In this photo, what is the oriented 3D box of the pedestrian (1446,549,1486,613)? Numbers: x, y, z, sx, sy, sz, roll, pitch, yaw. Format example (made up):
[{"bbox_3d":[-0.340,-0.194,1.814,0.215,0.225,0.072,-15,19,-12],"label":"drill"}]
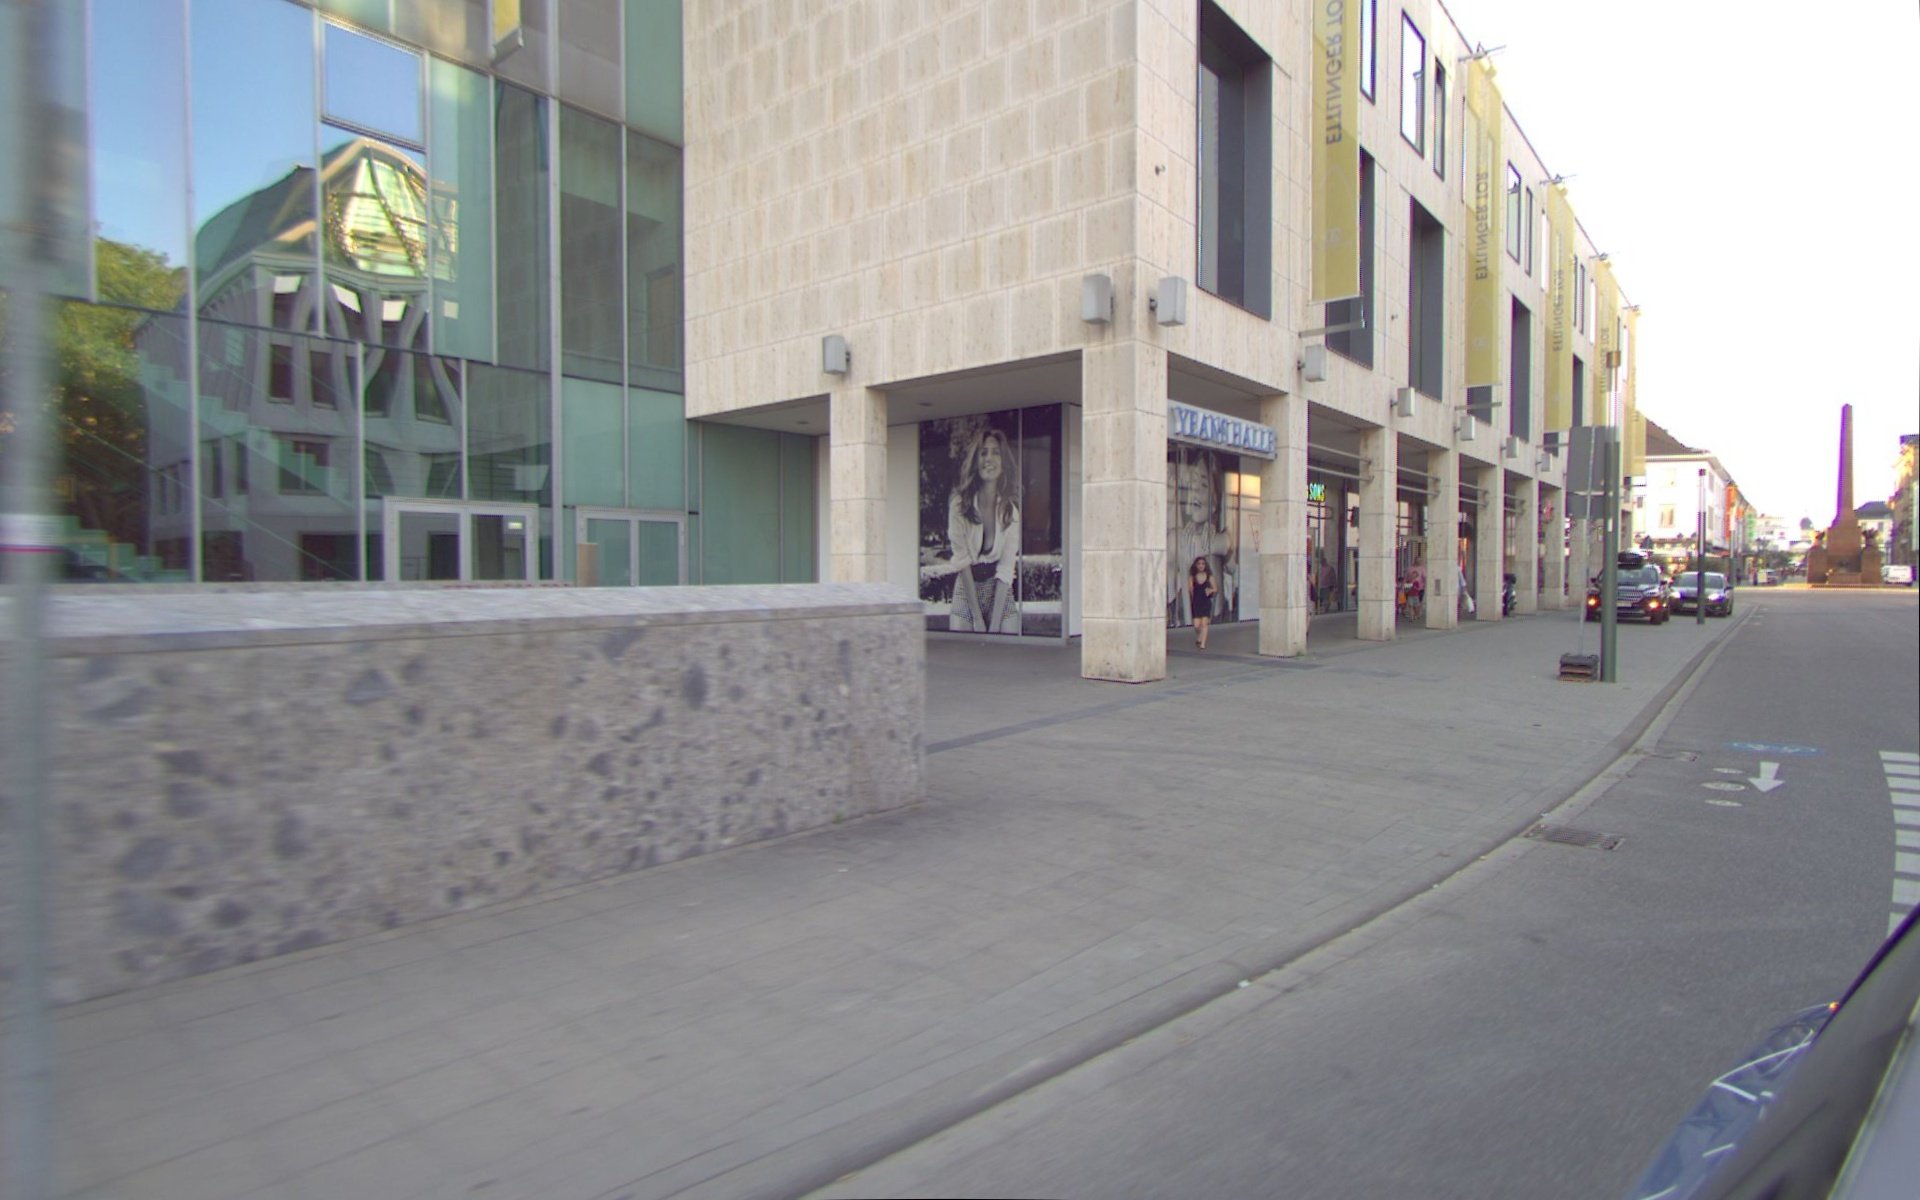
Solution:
[{"bbox_3d":[13.711,-0.517,27.422,0.764,1.702,0.864,1,0,40],"label":"pedestrian"}]

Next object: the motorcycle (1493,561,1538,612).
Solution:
[{"bbox_3d":[16.331,-0.425,29.707,0.692,1.434,2.104,1,2,42],"label":"motorcycle"}]

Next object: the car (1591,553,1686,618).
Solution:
[{"bbox_3d":[19.610,-0.470,29.176,1.767,1.657,3.999,5,5,40],"label":"car"}]

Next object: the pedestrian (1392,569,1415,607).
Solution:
[{"bbox_3d":[13.250,-0.350,30.216,0.486,1.111,0.593,1,0,39],"label":"pedestrian"}]

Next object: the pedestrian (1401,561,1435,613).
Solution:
[{"bbox_3d":[12.120,-0.338,26.775,0.633,1.362,0.764,1,0,39],"label":"pedestrian"}]

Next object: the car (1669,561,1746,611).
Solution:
[{"bbox_3d":[25.826,-0.537,34.909,1.794,1.508,4.133,6,5,40],"label":"car"}]

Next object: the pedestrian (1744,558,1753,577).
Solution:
[{"bbox_3d":[72.350,-2.966,92.870,0.600,1.721,0.705,1,2,35],"label":"pedestrian"}]

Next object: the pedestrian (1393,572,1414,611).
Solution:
[{"bbox_3d":[12.979,-0.252,29.621,0.419,1.111,0.518,1,0,39],"label":"pedestrian"}]

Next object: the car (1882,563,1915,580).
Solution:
[{"bbox_3d":[82.387,-2.518,88.888,1.773,1.442,3.907,1,2,38],"label":"car"}]

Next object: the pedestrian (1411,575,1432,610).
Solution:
[{"bbox_3d":[13.666,-0.221,29.960,0.419,0.998,0.518,1,0,39],"label":"pedestrian"}]

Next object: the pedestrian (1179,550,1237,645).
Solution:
[{"bbox_3d":[4.207,-0.059,17.161,0.723,1.561,0.718,1,2,40],"label":"pedestrian"}]

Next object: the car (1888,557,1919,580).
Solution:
[{"bbox_3d":[79.361,-2.653,84.568,2.008,1.848,4.408,1,2,33],"label":"car"}]

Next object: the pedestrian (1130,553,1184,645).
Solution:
[{"bbox_3d":[3.419,-0.035,17.553,0.633,1.561,0.764,1,2,39],"label":"pedestrian"}]

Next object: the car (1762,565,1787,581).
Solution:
[{"bbox_3d":[77.486,-2.592,96.248,1.774,1.442,3.905,1,2,39],"label":"car"}]

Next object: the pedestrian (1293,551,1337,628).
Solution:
[{"bbox_3d":[7.478,-0.228,21.300,0.633,1.587,0.764,1,0,39],"label":"pedestrian"}]
